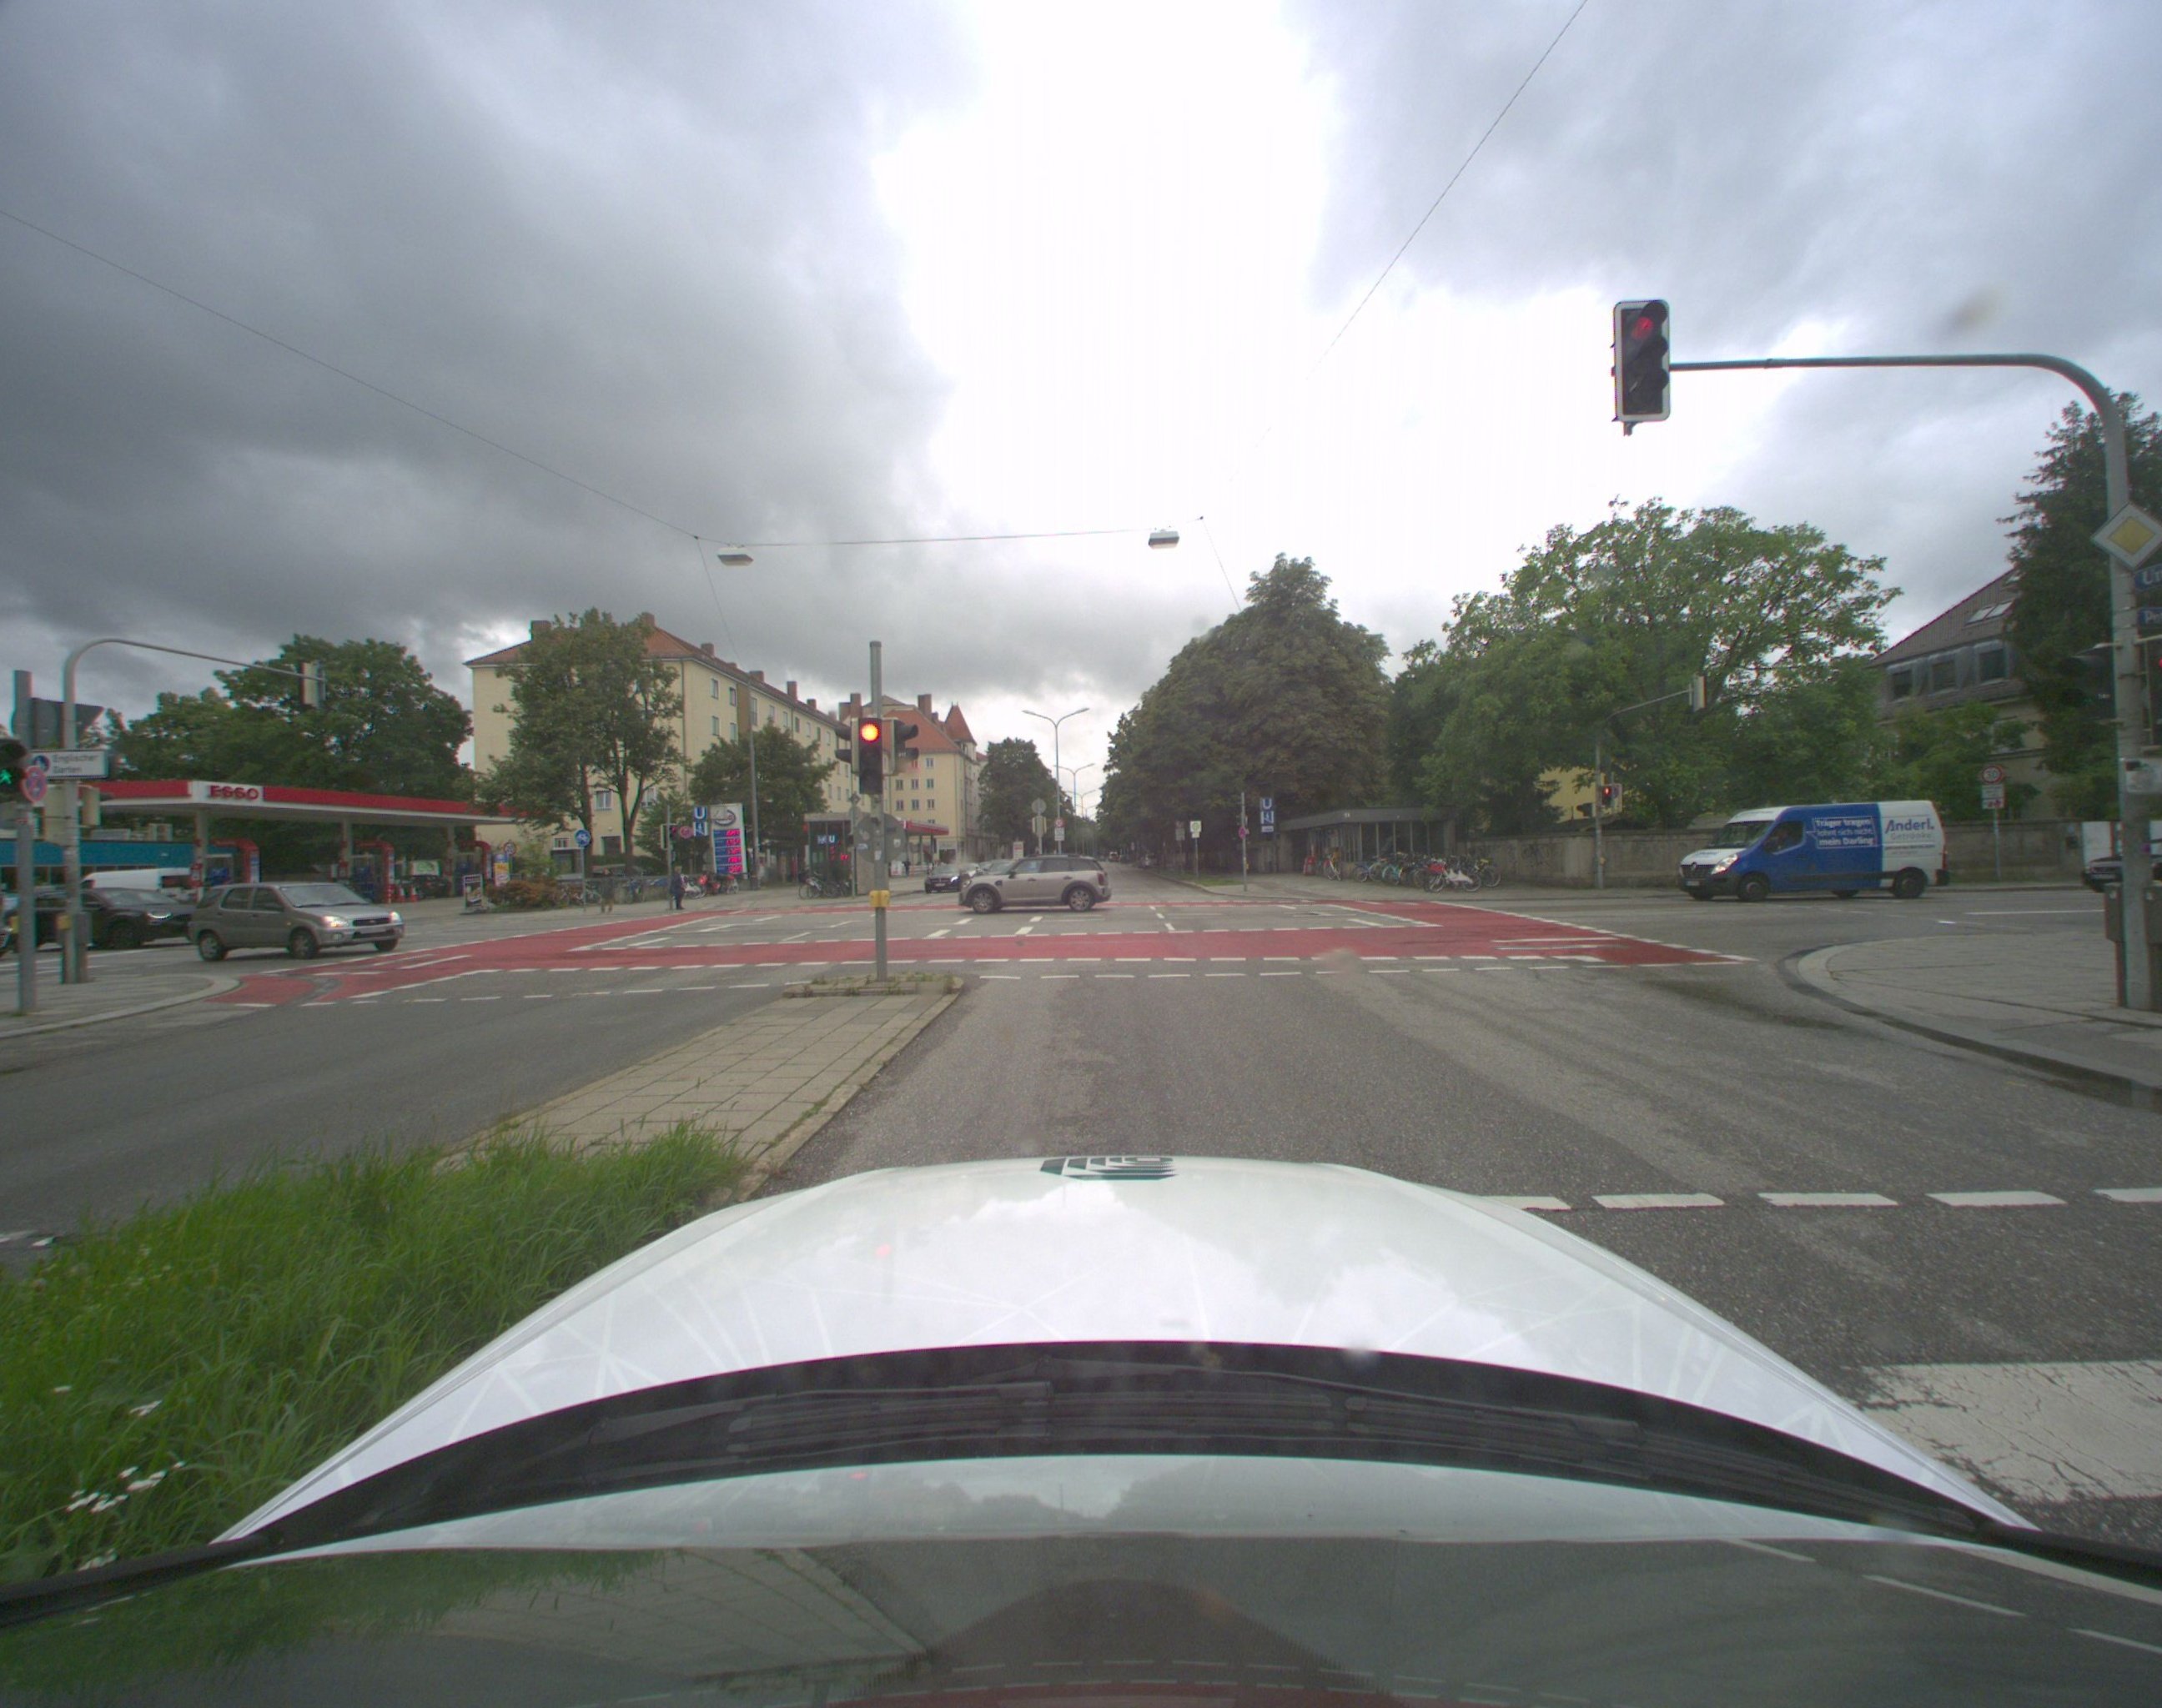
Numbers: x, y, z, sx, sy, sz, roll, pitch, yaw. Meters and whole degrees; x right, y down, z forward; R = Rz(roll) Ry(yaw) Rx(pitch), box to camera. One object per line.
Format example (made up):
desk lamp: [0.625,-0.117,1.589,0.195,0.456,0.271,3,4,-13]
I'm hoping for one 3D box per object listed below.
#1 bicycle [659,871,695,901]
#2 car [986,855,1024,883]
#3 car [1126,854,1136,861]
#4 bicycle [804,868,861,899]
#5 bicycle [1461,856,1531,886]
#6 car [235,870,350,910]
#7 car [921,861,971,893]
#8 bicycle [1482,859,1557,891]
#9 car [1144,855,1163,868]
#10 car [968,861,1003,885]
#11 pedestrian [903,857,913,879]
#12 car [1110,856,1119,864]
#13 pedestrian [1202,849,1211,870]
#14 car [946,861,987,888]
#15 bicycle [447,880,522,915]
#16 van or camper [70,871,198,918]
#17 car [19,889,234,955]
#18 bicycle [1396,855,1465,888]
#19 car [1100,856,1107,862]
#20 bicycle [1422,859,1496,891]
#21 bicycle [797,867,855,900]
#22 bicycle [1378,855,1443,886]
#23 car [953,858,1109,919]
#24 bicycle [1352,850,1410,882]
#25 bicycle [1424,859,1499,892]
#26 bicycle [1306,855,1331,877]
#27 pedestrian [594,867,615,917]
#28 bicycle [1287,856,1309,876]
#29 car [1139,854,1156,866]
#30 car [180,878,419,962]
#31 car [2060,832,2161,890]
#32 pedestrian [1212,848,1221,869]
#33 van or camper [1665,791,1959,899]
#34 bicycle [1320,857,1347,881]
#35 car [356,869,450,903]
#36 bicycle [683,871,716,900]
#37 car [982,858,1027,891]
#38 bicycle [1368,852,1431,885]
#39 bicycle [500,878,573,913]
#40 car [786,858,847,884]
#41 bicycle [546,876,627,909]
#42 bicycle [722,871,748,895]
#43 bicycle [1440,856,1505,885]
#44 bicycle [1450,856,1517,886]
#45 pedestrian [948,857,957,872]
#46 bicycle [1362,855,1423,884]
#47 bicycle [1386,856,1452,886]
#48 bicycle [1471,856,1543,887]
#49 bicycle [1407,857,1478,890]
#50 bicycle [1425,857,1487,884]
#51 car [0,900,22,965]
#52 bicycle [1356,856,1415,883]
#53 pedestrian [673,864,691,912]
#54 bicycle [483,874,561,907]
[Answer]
bicycle: [-17.867,1.409,36.059,0.607,1.236,2.183,-2,0,-5]
car: [-4.453,0.852,48.410,1.753,1.493,4.001,-2,0,1]
car: [9.820,0.704,159.684,1.737,1.427,3.900,-2,0,1]
bicycle: [-10.981,1.305,36.048,2.276,1.304,0.694,-2,0,2]
bicycle: [14.916,0.614,29.296,2.130,1.014,0.636,-2,0,9]
car: [-39.977,1.809,41.355,3.973,1.784,1.858,-2,0,1]
car: [-6.853,1.141,41.740,1.753,1.460,4.001,-2,0,1]
bicycle: [14.920,0.700,27.729,2.130,1.014,0.636,-2,0,9]
car: [7.986,0.786,89.728,1.737,1.363,3.807,-2,0,1]
car: [-6.453,1.265,55.421,1.753,1.460,4.001,-2,0,1]
pedestrian: [-16.061,1.315,75.744,0.727,2.014,0.835,0,-1,1]
car: [7.642,1.305,187.709,1.916,1.684,4.001,-2,0,1]
pedestrian: [10.347,0.430,67.228,0.674,1.682,0.684,-2,0,7]
car: [-6.777,1.201,48.740,1.753,1.460,4.001,-2,0,1]
bicycle: [-22.833,1.657,31.231,2.179,1.236,0.764,-2,0,-8]
van or camper: [-51.887,2.181,44.707,4.526,2.323,1.917,-2,0,-3]
car: [-23.818,1.674,20.400,3.532,1.412,1.666,-2,0,3]
bicycle: [12.407,0.619,28.937,2.130,1.101,0.604,-2,0,9]
car: [5.977,1.357,218.011,1.850,1.684,4.001,-2,0,1]
bicycle: [12.727,0.699,27.469,2.130,1.014,0.636,-2,0,9]
bicycle: [-11.028,1.277,35.268,2.262,1.304,0.704,-2,0,2]
bicycle: [12.279,0.600,30.385,2.130,1.086,0.604,-2,0,9]
car: [-1.334,0.936,22.796,4.154,1.514,1.695,-2,0,0]
bicycle: [12.280,0.495,33.420,2.130,1.218,0.604,-2,0,9]
bicycle: [12.511,0.714,26.849,2.130,1.014,0.604,-2,0,9]
bicycle: [11.255,0.560,38.698,0.555,1.014,2.015,-2,0,0]
pedestrian: [-16.689,1.317,28.529,0.593,1.695,0.571,-1,0,-29]
bicycle: [11.206,0.595,42.023,0.555,1.014,2.015,-2,0,0]
car: [8.114,0.737,99.745,1.737,1.363,3.807,-2,0,1]
car: [-15.947,1.329,16.703,3.597,1.517,1.668,-2,0,9]
car: [27.746,0.132,20.515,3.818,1.397,1.699,-2,0,7]
pedestrian: [11.180,0.397,67.347,0.674,1.682,0.684,-2,0,7]
van or camper: [18.651,-0.219,21.018,5.529,2.469,2.069,-2,0,3]
bicycle: [11.126,0.648,35.965,0.555,1.014,2.015,-2,0,0]
car: [-40.319,1.883,48.463,3.973,1.784,1.858,-2,0,1]
bicycle: [-17.261,1.396,36.867,0.607,1.236,2.183,-2,0,-5]
car: [-3.780,0.979,40.993,1.753,1.493,4.001,-2,0,1]
bicycle: [12.167,0.558,31.125,2.130,1.178,0.604,-2,0,9]
bicycle: [-20.900,1.586,31.283,2.180,1.236,0.763,-2,0,-10]
car: [-20.248,1.278,62.438,3.976,1.838,1.879,-2,0,-2]
bicycle: [-19.593,1.514,32.340,2.720,1.251,0.786,0,-1,-29]
bicycle: [-17.412,1.441,41.027,0.607,1.145,1.962,-2,0,-5]
bicycle: [14.826,0.625,30.877,2.130,1.014,0.636,-2,0,9]
bicycle: [14.858,0.619,30.091,2.130,1.014,0.636,-2,0,9]
pedestrian: [-13.795,1.115,87.393,0.693,1.638,0.738,-2,0,1]
bicycle: [12.159,0.622,31.827,2.130,1.062,0.604,-2,0,9]
bicycle: [12.299,0.631,29.654,2.130,1.014,0.604,-2,0,9]
bicycle: [14.889,0.606,28.528,2.130,1.014,0.636,-2,0,9]
bicycle: [12.528,0.684,28.279,2.130,1.071,0.604,-2,0,9]
bicycle: [14.929,0.641,32.457,2.130,1.014,0.636,-2,0,9]
car: [-25.756,1.788,17.395,4.296,1.412,1.666,-2,0,3]
bicycle: [12.212,0.611,32.708,2.130,1.014,0.604,-2,0,9]
pedestrian: [-14.544,1.235,29.703,0.536,1.695,0.572,-2,0,-24]
bicycle: [-21.887,1.427,31.942,2.394,1.251,0.789,0,-1,-10]
